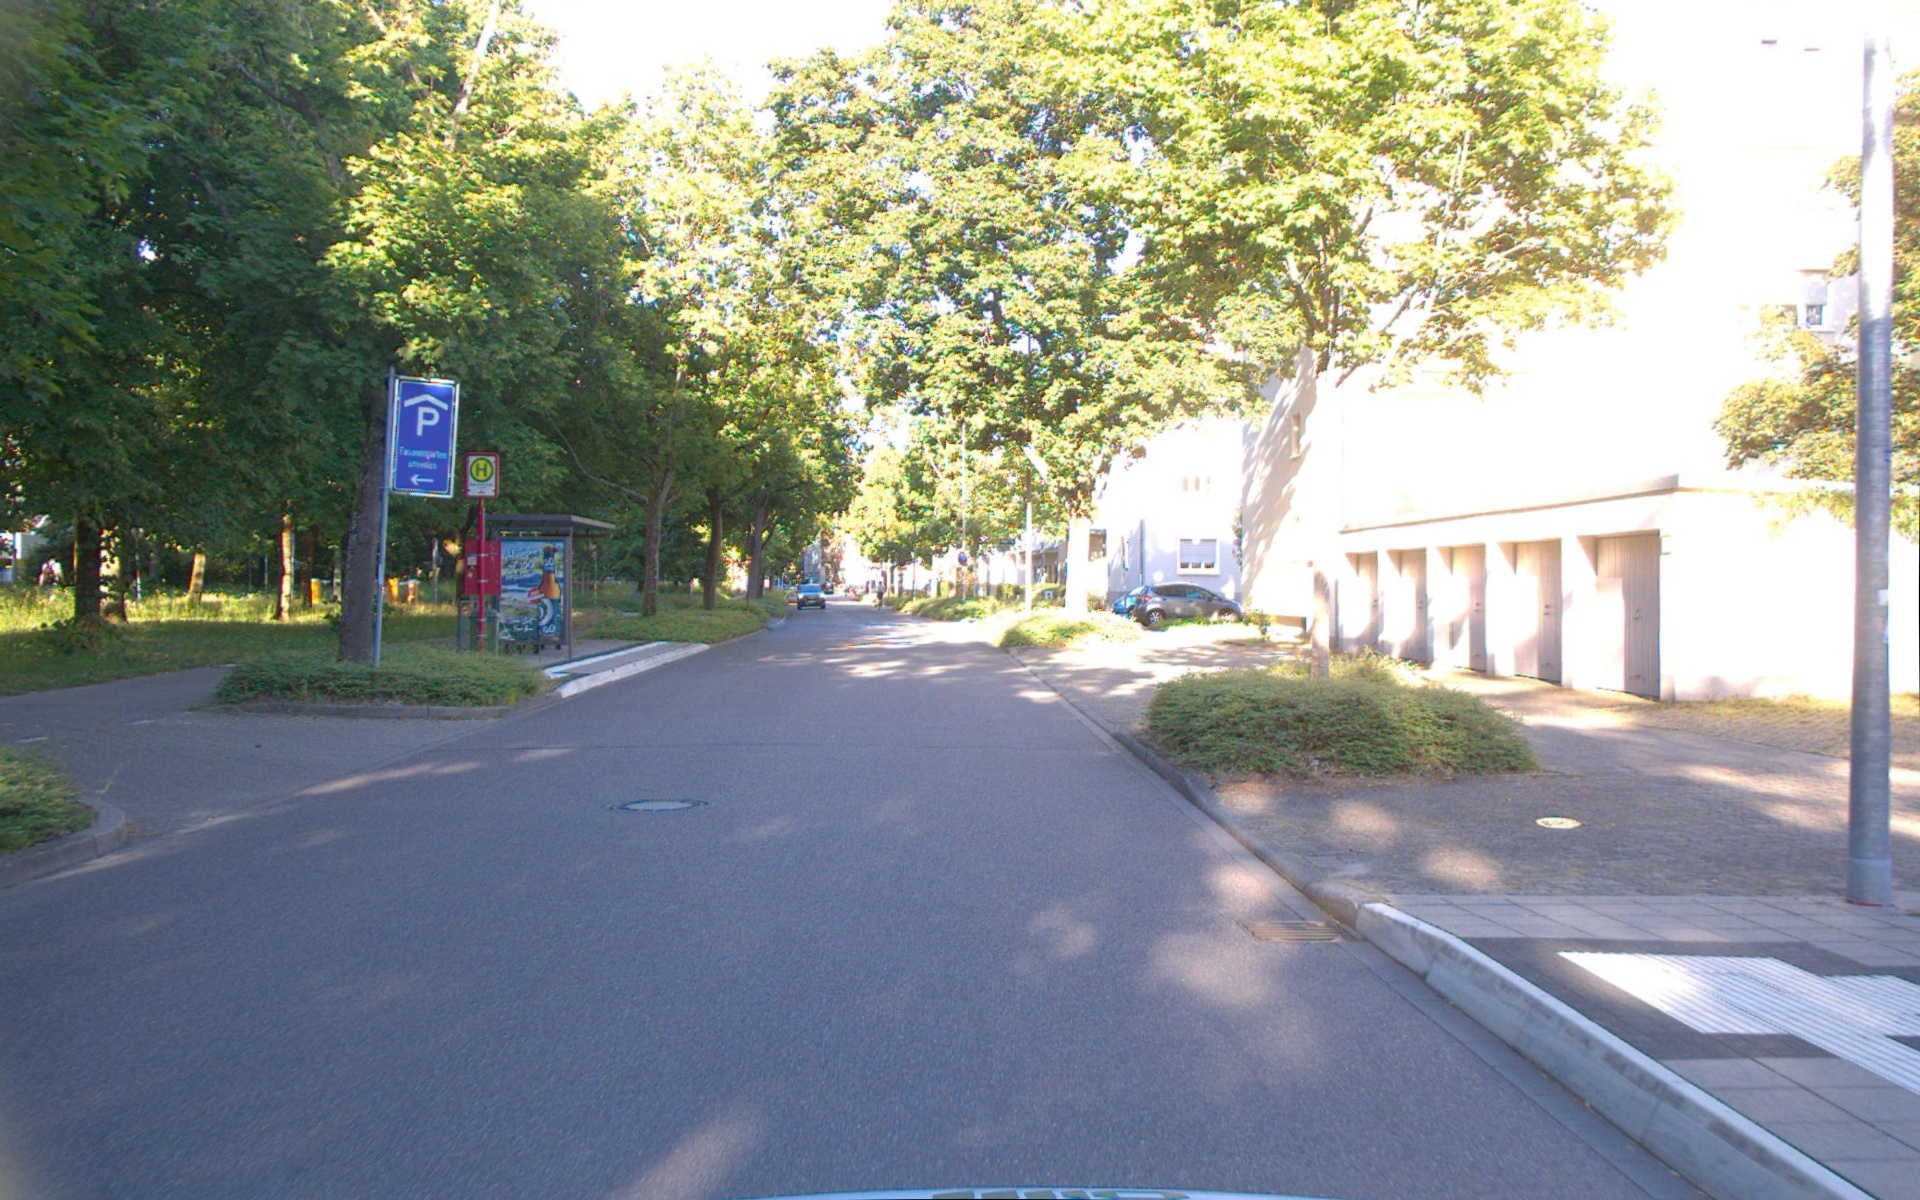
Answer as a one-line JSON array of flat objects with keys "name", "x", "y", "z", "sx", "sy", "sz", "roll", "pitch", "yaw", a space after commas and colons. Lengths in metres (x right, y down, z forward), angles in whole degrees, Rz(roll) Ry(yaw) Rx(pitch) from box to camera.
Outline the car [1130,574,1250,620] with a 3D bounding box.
[{"name": "car", "x": 8.153, "y": -0.082, "z": 58.780, "sx": 3.962, "sy": 1.541, "sz": 1.725, "roll": 1, "pitch": -1, "yaw": -5}]

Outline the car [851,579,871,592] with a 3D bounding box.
[{"name": "car", "x": -11.958, "y": -1.752, "z": 199.192, "sx": 1.780, "sy": 1.527, "sz": 3.987, "roll": 0, "pitch": 1, "yaw": -13}]

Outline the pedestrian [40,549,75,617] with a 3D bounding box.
[{"name": "pedestrian", "x": -27.175, "y": -0.511, "z": 49.801, "sx": 0.742, "sy": 2.049, "sz": 0.589, "roll": 1, "pitch": 0, "yaw": -7}]

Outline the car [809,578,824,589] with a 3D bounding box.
[{"name": "car", "x": -21.002, "y": -2.449, "z": 241.737, "sx": 1.778, "sy": 1.527, "sz": 3.992, "roll": 1, "pitch": 1, "yaw": -9}]

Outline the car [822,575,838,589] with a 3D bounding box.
[{"name": "car", "x": -17.879, "y": -2.484, "z": 227.334, "sx": 1.778, "sy": 1.959, "sz": 3.992, "roll": 1, "pitch": 1, "yaw": -9}]

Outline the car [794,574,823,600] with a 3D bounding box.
[{"name": "car", "x": -9.758, "y": -0.858, "z": 106.732, "sx": 1.808, "sy": 1.606, "sz": 4.331, "roll": -1, "pitch": 1, "yaw": -5}]

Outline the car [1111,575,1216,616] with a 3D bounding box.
[{"name": "car", "x": 8.151, "y": -0.200, "z": 66.490, "sx": 3.910, "sy": 1.609, "sz": 1.808, "roll": 0, "pitch": 2, "yaw": -7}]
